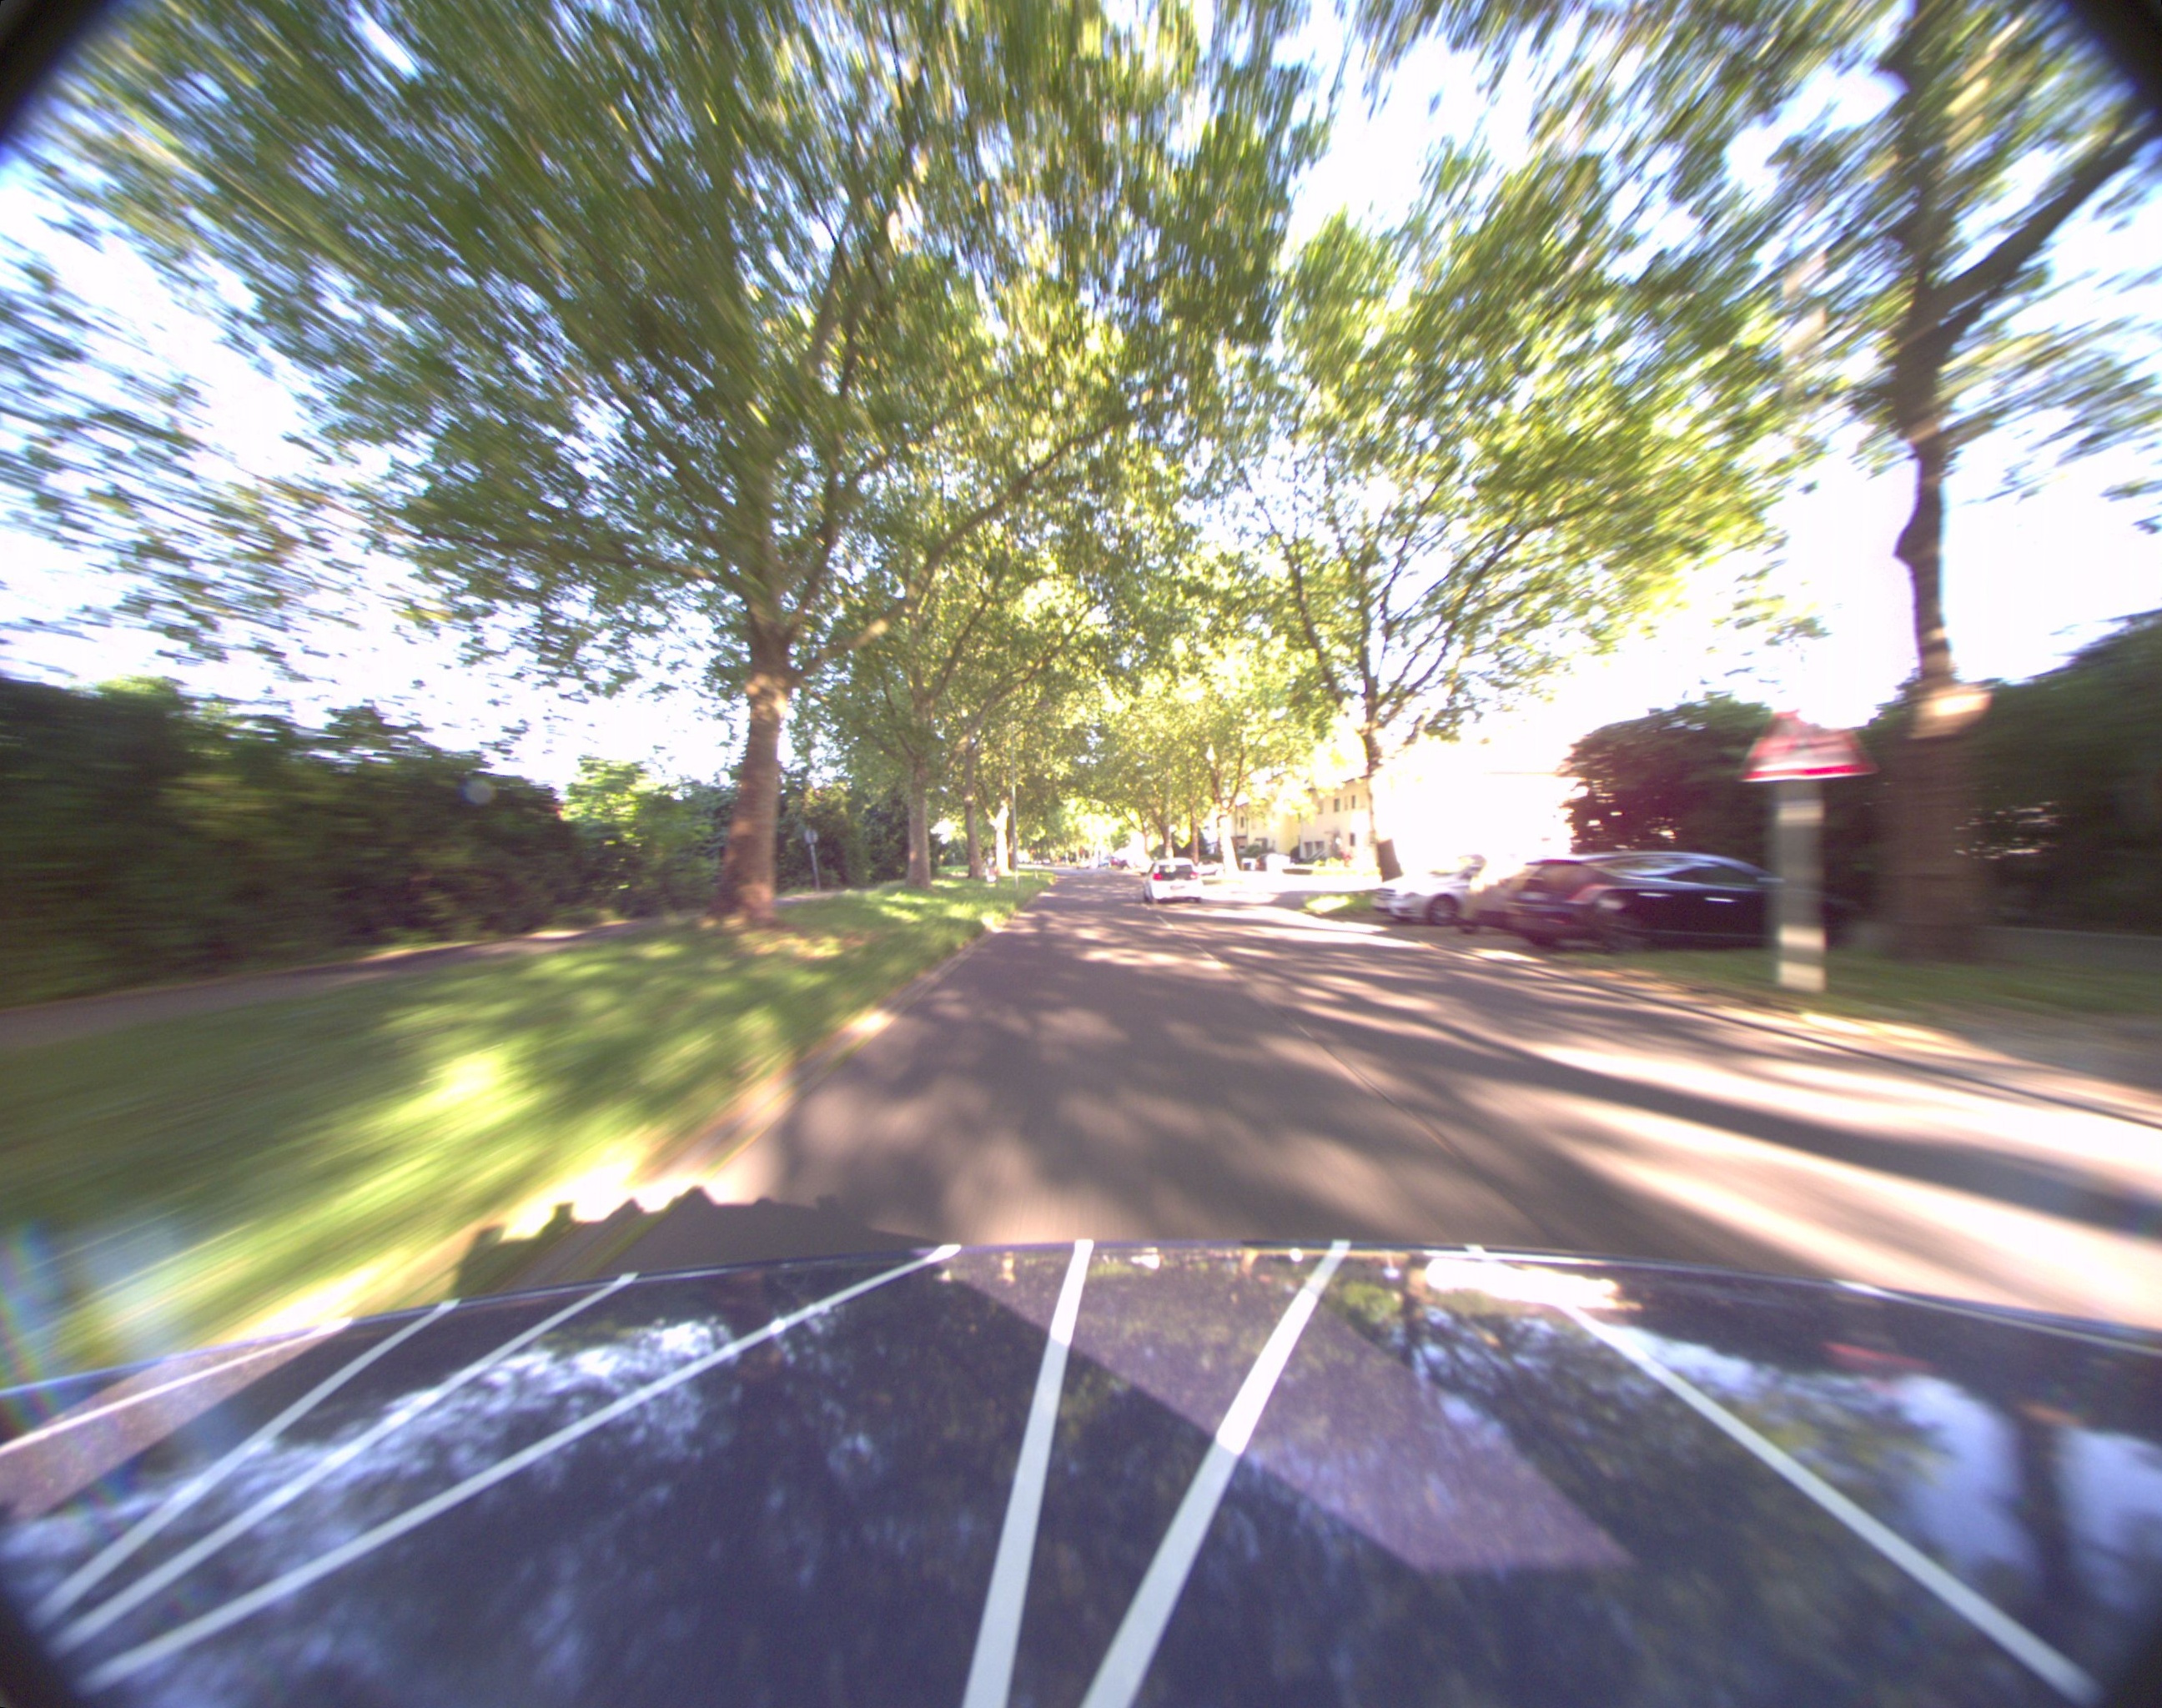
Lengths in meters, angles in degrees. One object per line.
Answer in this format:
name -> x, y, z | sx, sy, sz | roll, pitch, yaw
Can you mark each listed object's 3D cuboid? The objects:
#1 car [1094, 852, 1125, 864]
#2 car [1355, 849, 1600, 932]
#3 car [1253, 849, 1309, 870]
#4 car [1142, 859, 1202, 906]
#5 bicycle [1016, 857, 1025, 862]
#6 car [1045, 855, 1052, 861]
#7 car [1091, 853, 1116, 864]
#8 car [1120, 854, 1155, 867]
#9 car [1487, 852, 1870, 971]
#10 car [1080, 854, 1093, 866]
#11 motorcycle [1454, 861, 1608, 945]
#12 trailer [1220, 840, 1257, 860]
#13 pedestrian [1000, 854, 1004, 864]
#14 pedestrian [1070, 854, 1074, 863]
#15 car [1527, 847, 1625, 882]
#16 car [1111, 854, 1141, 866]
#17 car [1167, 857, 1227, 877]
car -> 4.325, 0.588, 115.728 | 4.399, 1.813, 1.994 | -1, 0, -7
car -> 8.307, 0.720, 16.175 | 4.195, 1.575, 1.999 | -1, 0, -4
car -> 16.175, 0.438, 61.576 | 3.997, 1.455, 1.901 | -3, 0, -1
car -> 2.993, 0.901, 25.510 | 1.539, 1.450, 3.184 | -1, 0, -2
bicycle -> -11.990, 1.096, 149.950 | 1.715, 1.028, 0.447 | -1, -2, 29
car -> -8.266, 1.077, 192.755 | 1.721, 1.492, 4.093 | -1, 0, -1
car -> 3.865, 0.798, 130.582 | 4.104, 1.706, 1.830 | -1, 0, -6
car -> 6.823, 0.795, 91.914 | 3.999, 1.509, 1.817 | -1, 0, -4
car -> 8.374, 0.752, 10.887 | 4.172, 1.497, 1.801 | -1, 0, -3
car -> 0.765, 0.846, 108.039 | 1.789, 1.504, 3.837 | 0, 2, 0
motorcycle -> 7.901, 0.842, 13.385 | 2.392, 1.380, 0.648 | -1, 0, -5
trailer -> 16.997, -0.426, 82.168 | 3.463, 1.914, 1.643 | -5, -1, -4
pedestrian -> -14.637, 0.952, 141.054 | 0.756, 1.836, 0.802 | -1, 0, -2
pedestrian -> -1.855, 0.889, 151.718 | 0.637, 1.709, 0.825 | 2, 0, -14
car -> 23.922, 0.473, 36.896 | 1.999, 1.565, 3.998 | -1, 0, -4
car -> 6.284, 0.786, 105.891 | 3.883, 1.510, 1.662 | -1, 5, -7
car -> 8.106, 0.904, 53.415 | 3.836, 1.308, 1.789 | -2, 0, -3
